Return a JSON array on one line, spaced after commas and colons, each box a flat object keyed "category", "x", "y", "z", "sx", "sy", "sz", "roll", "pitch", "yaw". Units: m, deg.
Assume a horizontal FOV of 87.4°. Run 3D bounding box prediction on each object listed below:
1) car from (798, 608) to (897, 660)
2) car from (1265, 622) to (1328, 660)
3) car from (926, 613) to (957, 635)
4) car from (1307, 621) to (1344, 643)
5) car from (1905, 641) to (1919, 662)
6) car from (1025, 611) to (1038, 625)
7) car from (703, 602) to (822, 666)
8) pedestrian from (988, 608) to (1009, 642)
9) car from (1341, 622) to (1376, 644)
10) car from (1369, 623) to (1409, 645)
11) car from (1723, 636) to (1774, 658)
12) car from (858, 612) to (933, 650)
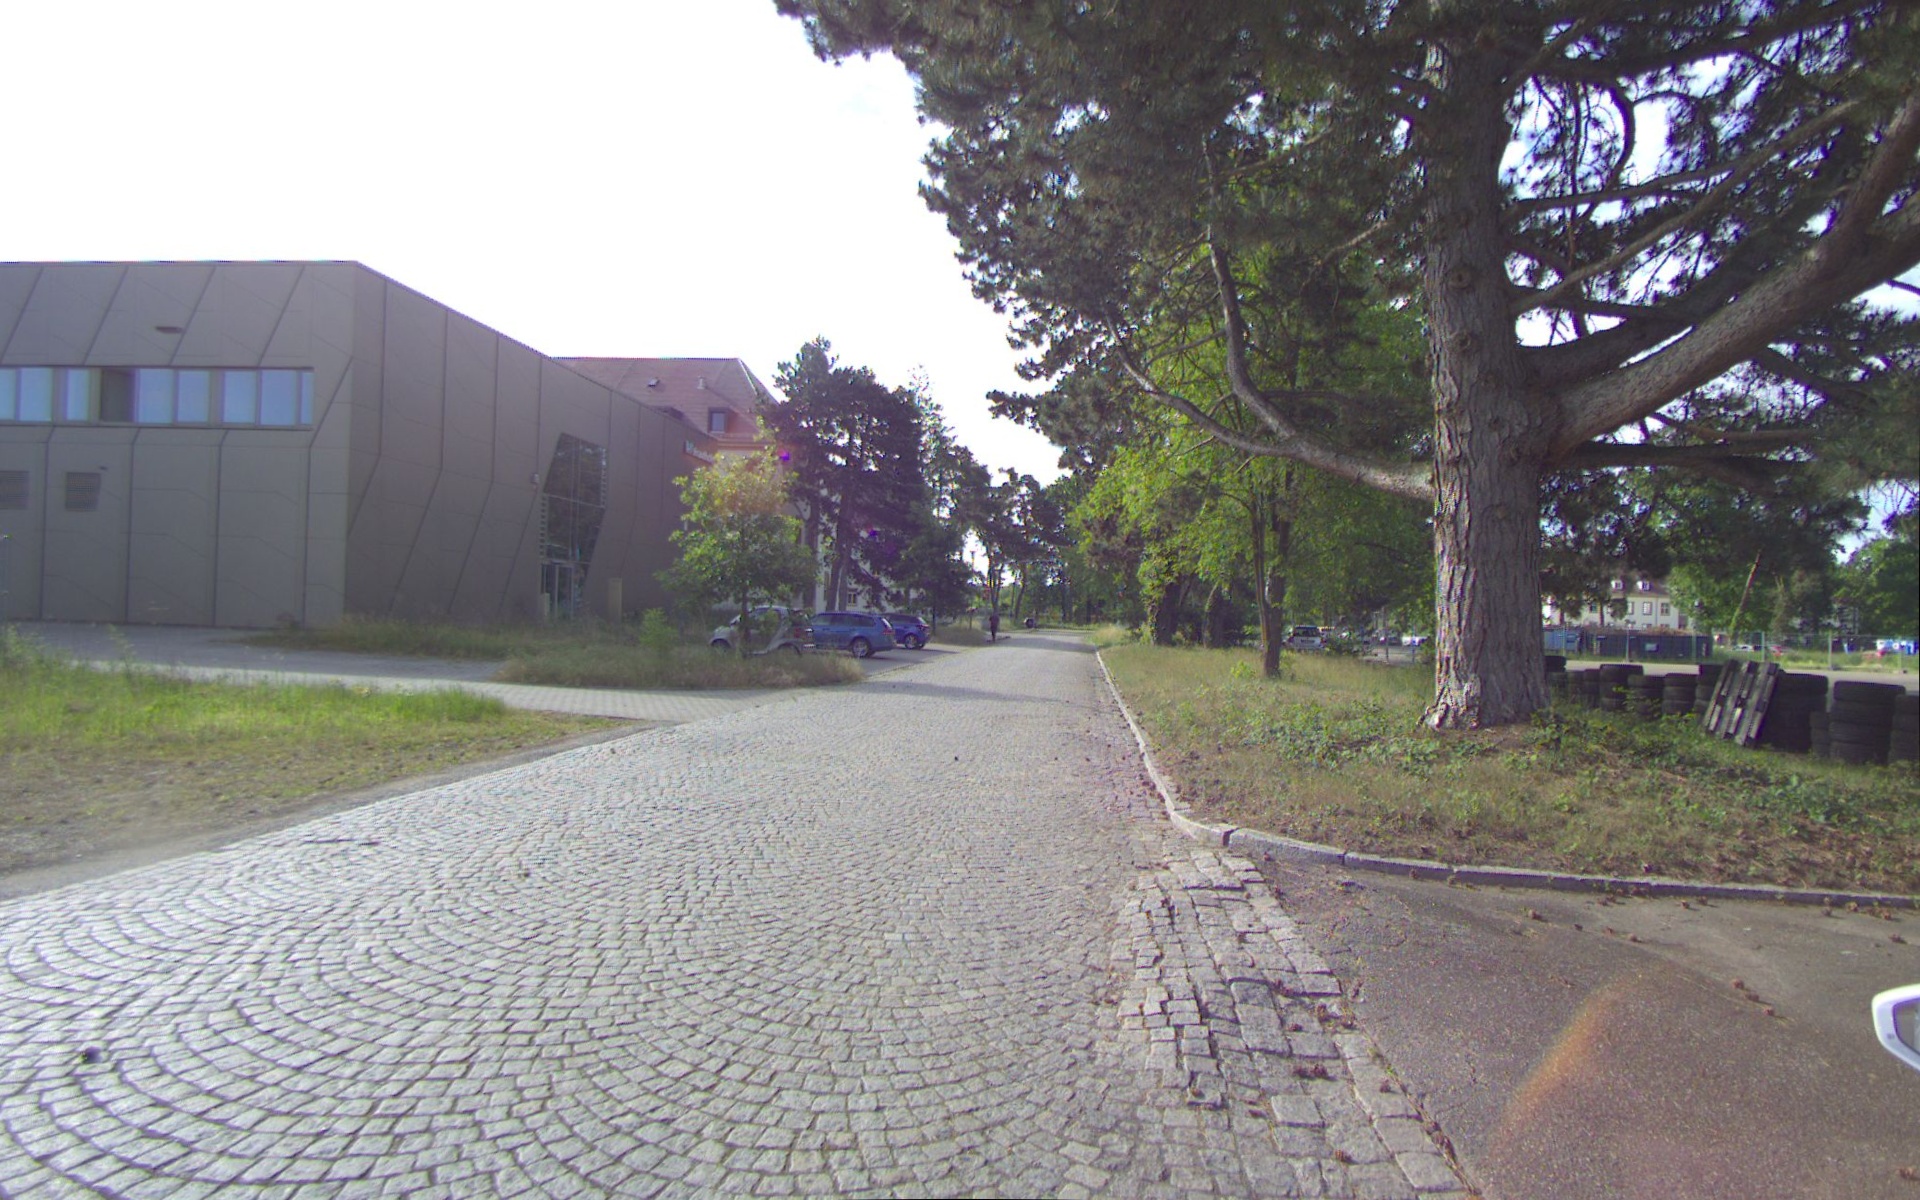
[{"category": "car", "x": -3.751, "y": 1.136, "z": 33.807, "sx": 3.032, "sy": 1.476, "sz": 1.492, "roll": 4, "pitch": -1, "yaw": 2}, {"category": "car", "x": 15.345, "y": 1.845, "z": 45.974, "sx": 1.854, "sy": 1.561, "sz": 4.002, "roll": 2, "pitch": -1, "yaw": 5}, {"category": "car", "x": -1.477, "y": 1.966, "z": 82.468, "sx": 1.959, "sy": 1.639, "sz": 4.003, "roll": 2, "pitch": -1, "yaw": 7}, {"category": "car", "x": 29.743, "y": 2.585, "z": 81.940, "sx": 1.959, "sy": 1.639, "sz": 4.003, "roll": 2, "pitch": -1, "yaw": 7}, {"category": "car", "x": 84.243, "y": 4.495, "z": 86.863, "sx": 1.960, "sy": 1.773, "sz": 4.002, "roll": 2, "pitch": -1, "yaw": 14}, {"category": "car", "x": 10.553, "y": 2.667, "z": 148.579, "sx": 1.668, "sy": 2.040, "sz": 4.003, "roll": 2, "pitch": -1, "yaw": 7}, {"category": "car", "x": -5.196, "y": 0.884, "z": 26.611, "sx": 2.713, "sy": 1.570, "sz": 1.426, "roll": 2, "pitch": -1, "yaw": 11}, {"category": "pedestrian", "x": 2.149, "y": 1.379, "z": 56.233, "sx": 0.941, "sy": 1.868, "sz": 0.955, "roll": 2, "pitch": 0, "yaw": -7}, {"category": "car", "x": 32.404, "y": 2.680, "z": 81.865, "sx": 1.790, "sy": 1.639, "sz": 4.003, "roll": 2, "pitch": -1, "yaw": 9}, {"category": "car", "x": 34.908, "y": 2.757, "z": 81.839, "sx": 1.959, "sy": 1.639, "sz": 4.003, "roll": 2, "pitch": -1, "yaw": 7}, {"category": "car", "x": 69.653, "y": 4.130, "z": 88.773, "sx": 1.959, "sy": 1.773, "sz": 4.003, "roll": 2, "pitch": -1, "yaw": 12}, {"category": "car", "x": -2.741, "y": 1.321, "z": 43.158, "sx": 3.032, "sy": 1.469, "sz": 1.492, "roll": 2, "pitch": -1, "yaw": 1}]
